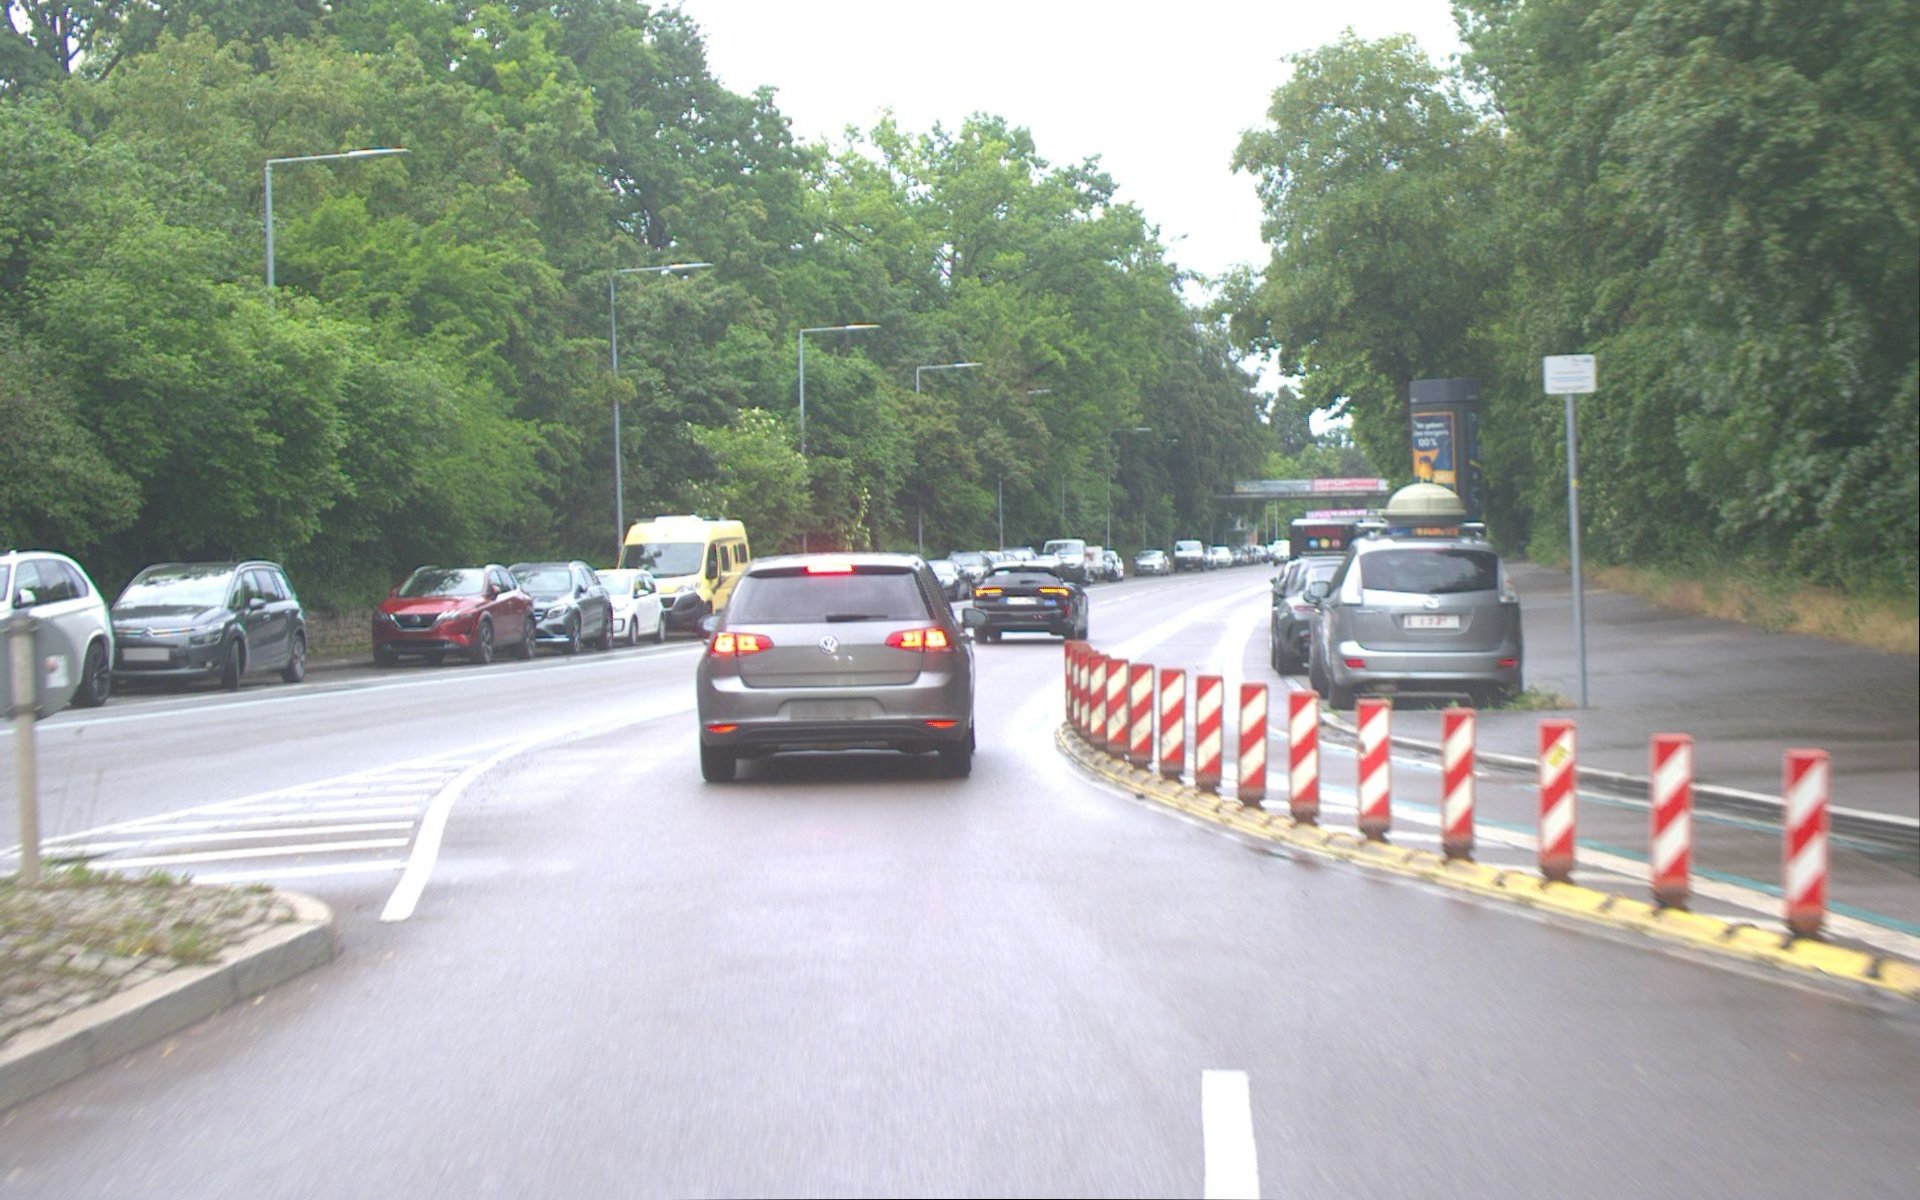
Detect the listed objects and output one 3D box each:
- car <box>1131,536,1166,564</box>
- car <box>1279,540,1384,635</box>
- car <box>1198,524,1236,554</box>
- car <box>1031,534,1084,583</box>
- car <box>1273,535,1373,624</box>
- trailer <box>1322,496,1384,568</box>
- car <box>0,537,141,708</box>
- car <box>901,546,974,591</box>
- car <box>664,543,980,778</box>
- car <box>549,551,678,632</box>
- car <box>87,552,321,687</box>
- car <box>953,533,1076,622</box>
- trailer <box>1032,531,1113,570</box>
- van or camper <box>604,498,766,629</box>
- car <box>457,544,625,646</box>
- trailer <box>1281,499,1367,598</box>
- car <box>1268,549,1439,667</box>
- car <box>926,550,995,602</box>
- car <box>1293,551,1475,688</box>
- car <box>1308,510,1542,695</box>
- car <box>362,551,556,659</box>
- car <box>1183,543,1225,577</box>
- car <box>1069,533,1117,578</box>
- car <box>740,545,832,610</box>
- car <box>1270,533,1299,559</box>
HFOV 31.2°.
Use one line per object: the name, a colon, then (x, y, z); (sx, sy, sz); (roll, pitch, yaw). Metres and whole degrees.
car: (10.507, -2.794, 191.552); (1.673, 1.508, 3.629); (-1, 1, 7)
car: (5.955, -0.226, 55.376); (1.560, 1.455, 3.675); (0, 1, 4)
car: (17.989, -4.276, 240.448); (2.159, 2.007, 5.029); (-1, 1, 9)
car: (4.194, -1.772, 146.996); (1.940, 2.007, 4.739); (-1, 1, 5)
car: (6.368, -0.386, 60.067); (1.659, 1.460, 3.899); (1, 1, 7)
trailer: (14.514, -2.522, 127.233); (2.132, 2.551, 4.296); (-1, 1, 5)
car: (-10.693, 0.224, 37.066); (1.994, 1.759, 4.959); (-1, 1, 7)
car: (-0.679, -0.983, 106.174); (1.696, 1.296, 4.191); (-1, 1, 7)
car: (-0.832, 0.372, 23.230); (1.871, 1.436, 4.296); (0, 0, 1)
car: (-6.724, -0.182, 67.016); (1.618, 1.443, 3.656); (-2, 1, 8)
car: (-9.816, 0.209, 44.995); (1.731, 1.643, 4.571); (-1, 1, 4)
car: (0.981, -0.419, 59.722); (1.881, 1.461, 4.000); (1, 1, 5)
trailer: (4.978, -2.179, 151.689); (1.629, 1.623, 3.664); (-1, 1, 39)
van or camper: (-5.791, -0.807, 73.245); (2.144, 2.618, 5.681); (-1, 1, 8)
car: (-7.500, -0.124, 62.005); (1.994, 1.694, 4.615); (-1, 1, 6)
trailer: (8.609, -1.238, 81.068); (1.906, 2.240, 4.767); (-1, 1, 7)
car: (4.851, 0.070, 42.871); (1.853, 1.394, 4.385); (0, 1, 3)
car: (0.036, -0.802, 111.053); (1.696, 1.578, 4.138); (-1, 1, 7)
car: (4.585, 0.176, 37.610); (1.697, 1.408, 3.703); (1, 1, 3)
car: (4.330, -0.004, 32.561); (1.822, 1.609, 4.251); (-1, 1, 3)
car: (-8.182, 0.054, 56.563); (1.919, 1.611, 4.488); (-2, 1, 8)
car: (15.339, -2.517, 216.094); (2.159, 2.007, 5.029); (-1, 1, 9)
car: (6.121, -2.050, 157.441); (1.940, 2.007, 4.739); (-1, 1, 5)
car: (-4.235, -0.558, 83.974); (1.603, 1.505, 3.138); (-1, 1, 9)
car: (22.478, -3.735, 238.109); (1.823, 1.700, 3.856); (-1, 1, 8)
